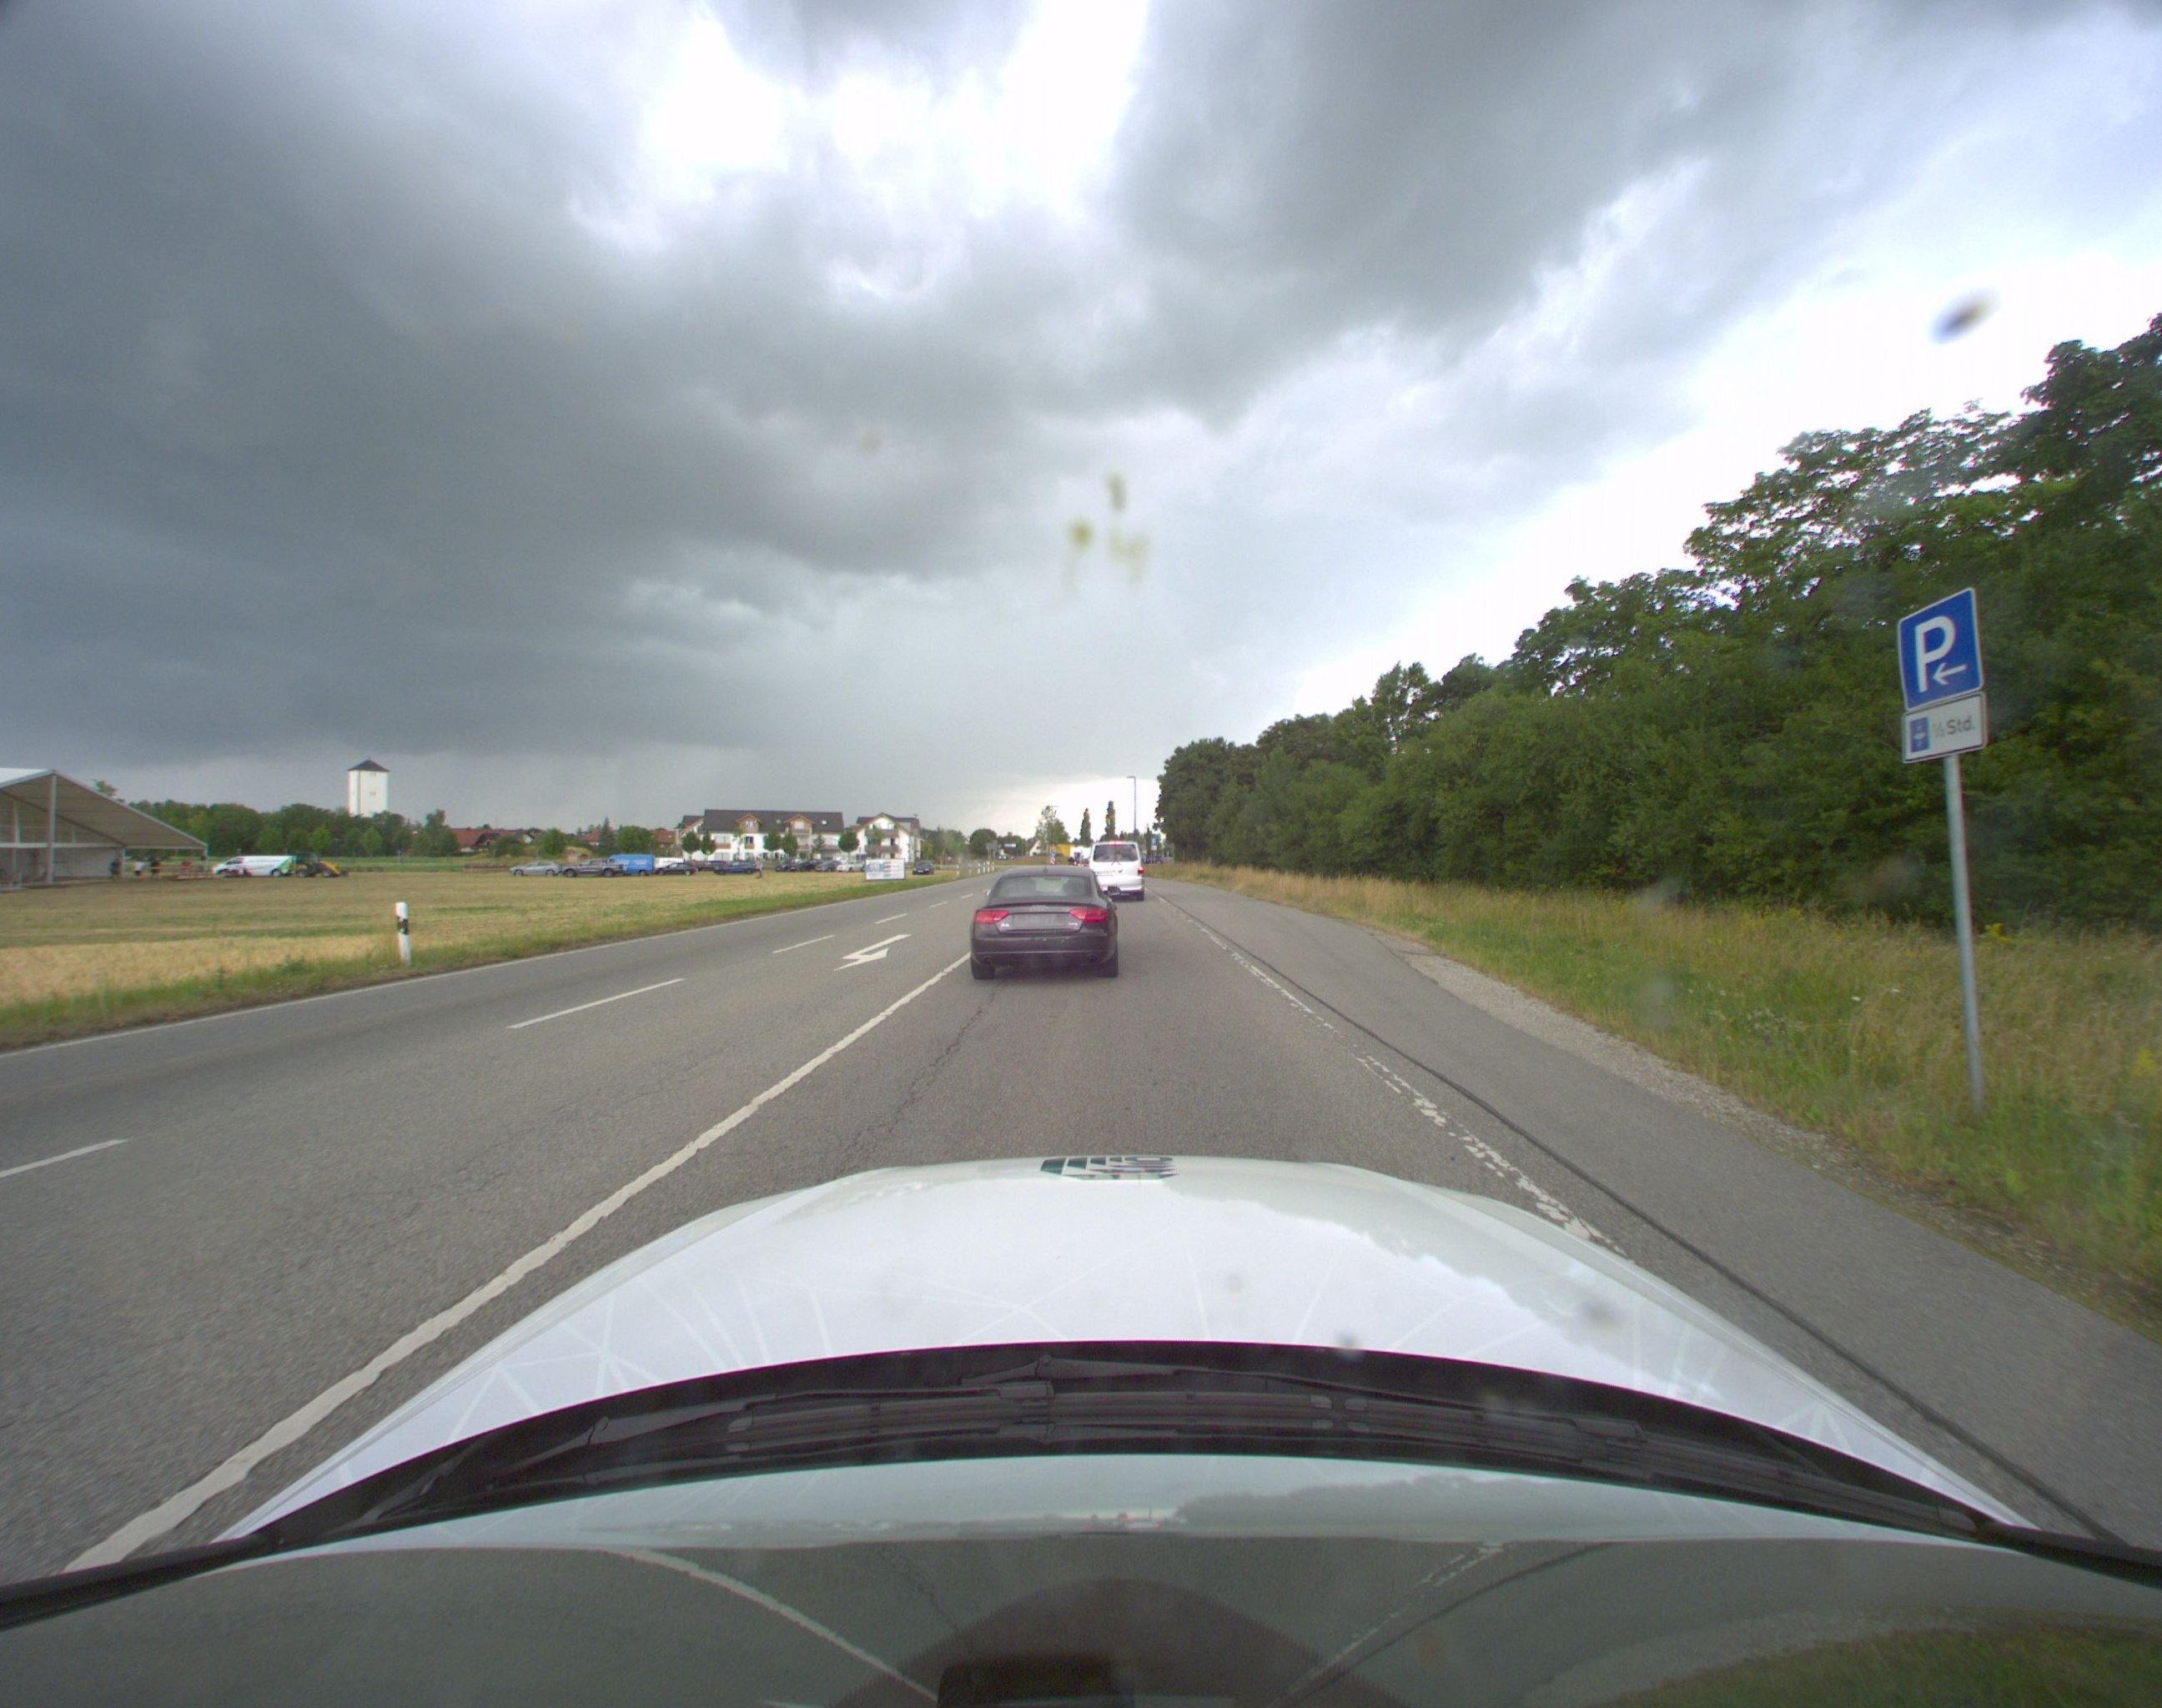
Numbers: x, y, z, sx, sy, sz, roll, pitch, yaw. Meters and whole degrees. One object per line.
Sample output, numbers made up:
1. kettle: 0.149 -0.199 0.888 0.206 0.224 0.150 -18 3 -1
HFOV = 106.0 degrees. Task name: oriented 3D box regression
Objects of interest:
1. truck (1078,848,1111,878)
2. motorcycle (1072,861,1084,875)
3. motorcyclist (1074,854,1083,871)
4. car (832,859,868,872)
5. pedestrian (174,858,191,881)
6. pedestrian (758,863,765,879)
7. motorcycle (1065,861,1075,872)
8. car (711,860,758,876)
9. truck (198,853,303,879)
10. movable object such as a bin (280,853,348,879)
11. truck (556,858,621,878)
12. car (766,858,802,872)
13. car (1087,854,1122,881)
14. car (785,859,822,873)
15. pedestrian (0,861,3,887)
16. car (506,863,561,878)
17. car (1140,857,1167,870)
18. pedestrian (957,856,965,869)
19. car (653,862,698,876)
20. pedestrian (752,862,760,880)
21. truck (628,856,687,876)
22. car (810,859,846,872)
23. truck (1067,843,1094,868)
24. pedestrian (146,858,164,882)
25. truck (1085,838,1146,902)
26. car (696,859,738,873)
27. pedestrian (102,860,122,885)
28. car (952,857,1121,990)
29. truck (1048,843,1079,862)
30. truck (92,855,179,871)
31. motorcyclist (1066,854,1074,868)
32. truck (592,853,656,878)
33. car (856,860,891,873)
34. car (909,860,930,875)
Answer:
1. truck: 1.022 0.589 57.554 2.185 2.014 5.087 0 0 2
2. motorcycle: -0.232 1.130 67.331 0.917 1.094 2.189 0 0 1
3. motorcyclist: -0.211 0.679 67.342 0.769 1.383 0.820 0 0 1
4. car: -27.711 1.408 97.915 1.977 1.446 4.233 -1 0 20
5. pedestrian: -72.252 1.236 65.485 0.690 1.776 0.690 0 -1 -18
6. pedestrian: -31.236 1.624 79.564 0.591 1.555 0.622 0 -1 -17
7. motorcycle: -1.070 1.227 81.044 0.941 1.019 2.283 0 0 0
8. car: -38.767 1.527 91.188 4.729 1.697 1.987 0 0 -19
9. truck: -75.085 1.063 73.768 6.075 2.217 2.698 0 0 -26
10. movable object such as a bin: -68.574 1.073 72.878 4.005 2.243 1.869 0 -1 -26
11. truck: -48.396 1.382 80.186 5.252 1.920 2.095 0 0 -25
12. car: -36.841 1.397 101.184 1.977 1.629 4.233 -1 0 20
13. car: 1.361 0.782 48.140 1.986 1.485 4.001 0 0 1
14. car: -33.642 1.402 98.761 1.977 1.629 4.233 -1 0 20
15. pedestrian: -73.038 1.368 54.592 0.655 1.744 0.723 0 -1 -18
16. car: -54.865 1.606 81.689 4.315 1.461 1.876 0 0 -25
17. car: 12.054 1.566 135.129 3.952 2.014 2.010 0 -1 22
18. pedestrian: -15.055 1.023 102.161 0.695 1.586 0.661 -1 -1 18
19. car: -44.333 1.607 89.093 4.167 1.519 1.987 0 0 -19
20. pedestrian: -31.358 1.645 78.640 0.548 1.786 0.676 0 -1 -10
21. truck: -47.750 1.304 92.007 5.585 2.196 2.588 0 0 -21
22. car: -30.466 1.409 98.348 1.977 1.536 4.233 -1 0 20
23. truck: -0.137 0.156 92.058 2.622 2.737 5.857 0 0 -5
24. pedestrian: -72.987 1.261 64.193 0.621 1.866 0.710 0 -1 5
25. truck: 1.164 0.508 27.963 1.897 1.998 4.630 0 0 2
26. car: -46.066 1.549 103.141 4.639 1.697 1.987 0 0 -19
27. pedestrian: -71.514 1.356 60.127 0.695 1.776 0.686 0 -1 -21
28. car: -0.422 0.788 11.218 1.868 1.454 4.179 -1 0 2
29. truck: -3.410 -0.295 154.388 3.584 3.578 9.901 0 0 -16
30. truck: -163.007 1.519 140.518 9.369 2.530 3.280 0 0 -18
31. motorcyclist: -1.062 0.712 81.026 0.783 1.356 0.854 0 0 0
32. truck: -47.348 1.149 84.434 5.468 2.446 2.377 0 0 -21
33. car: -24.836 1.468 97.449 1.977 1.446 4.233 -1 0 20
34. car: -16.768 1.334 84.582 1.993 1.442 3.988 0 0 -9
